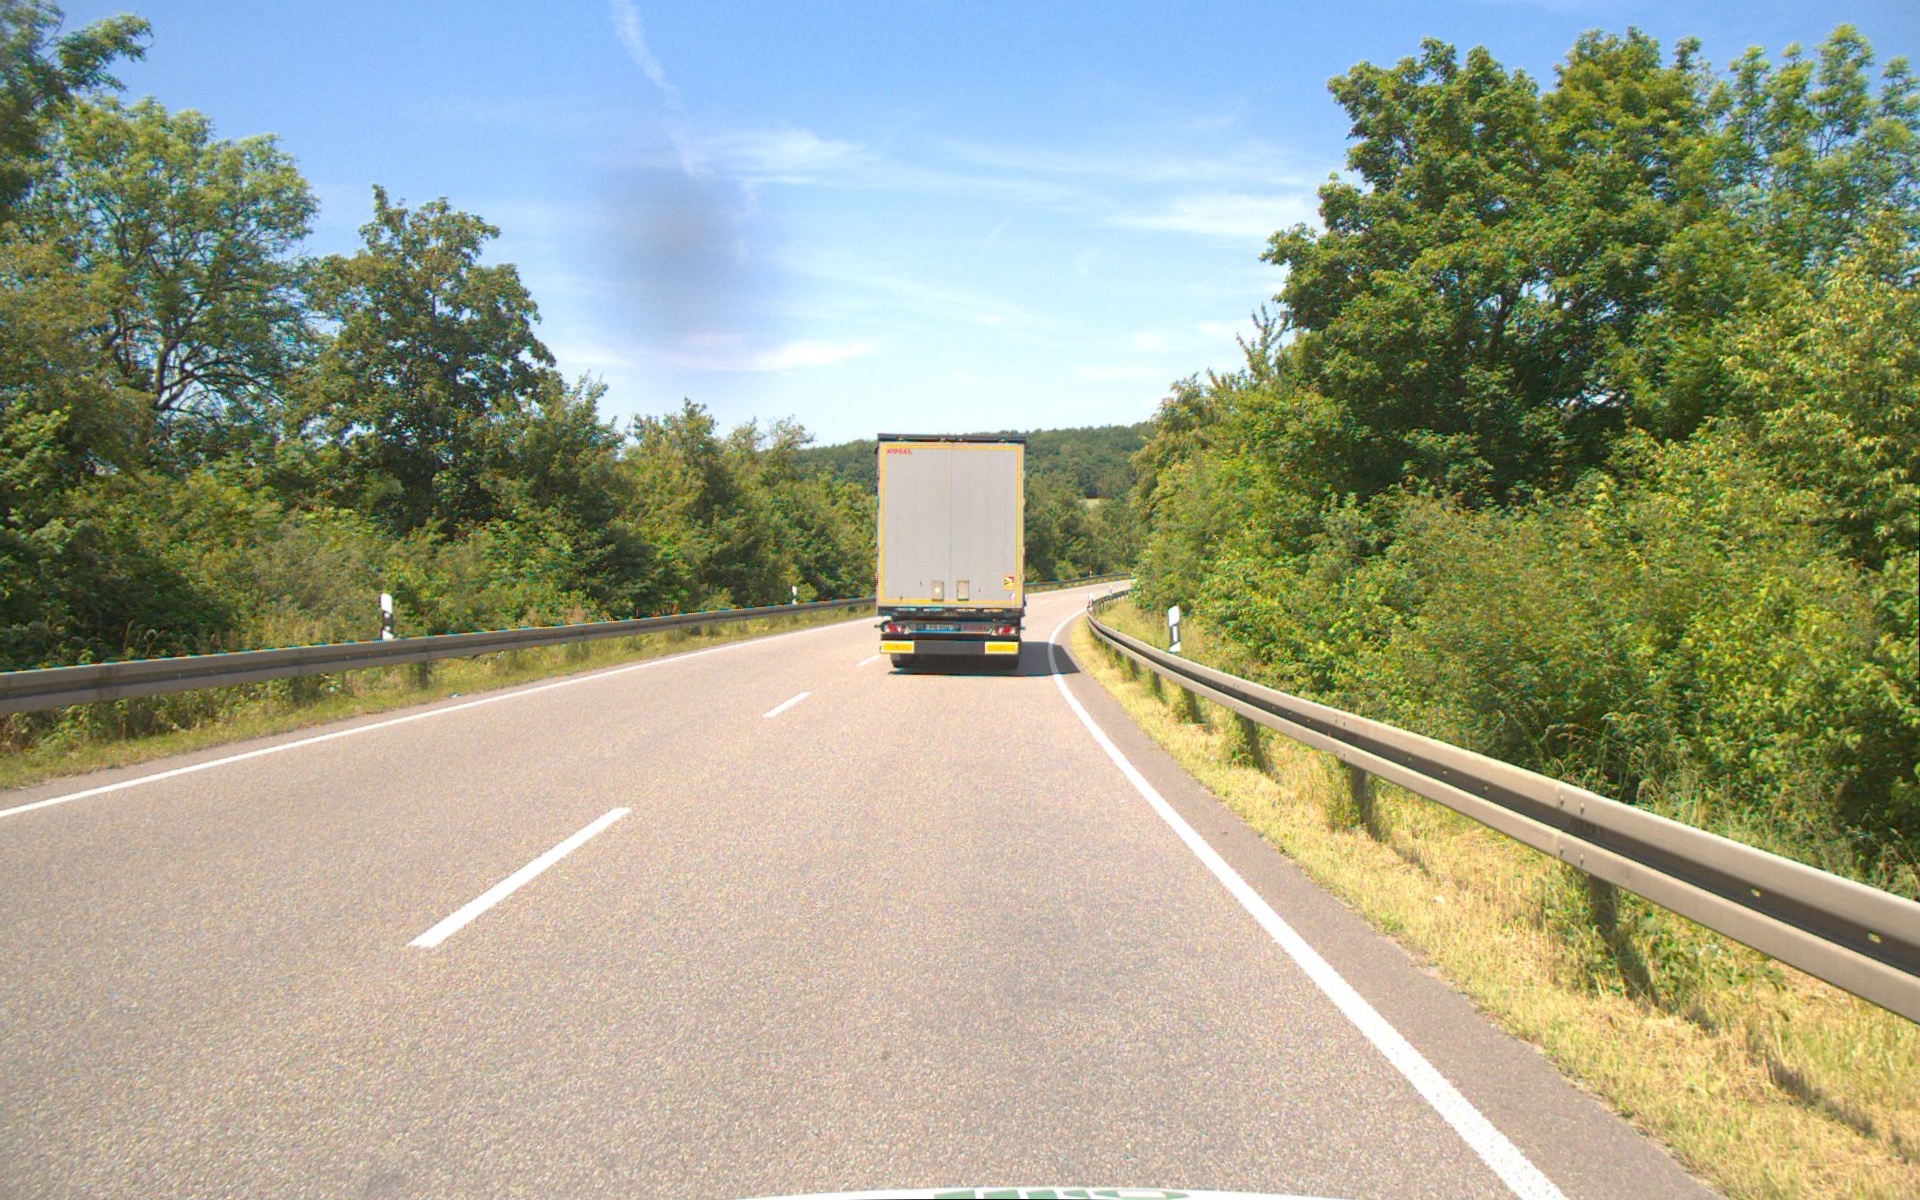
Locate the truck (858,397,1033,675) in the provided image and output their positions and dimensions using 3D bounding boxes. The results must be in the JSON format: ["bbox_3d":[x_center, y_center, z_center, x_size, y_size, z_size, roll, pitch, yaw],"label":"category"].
[{"bbox_3d":[0.016,-1.125,33.544,2.758,4.611,11.773,1,0,3],"label":"truck"}]
